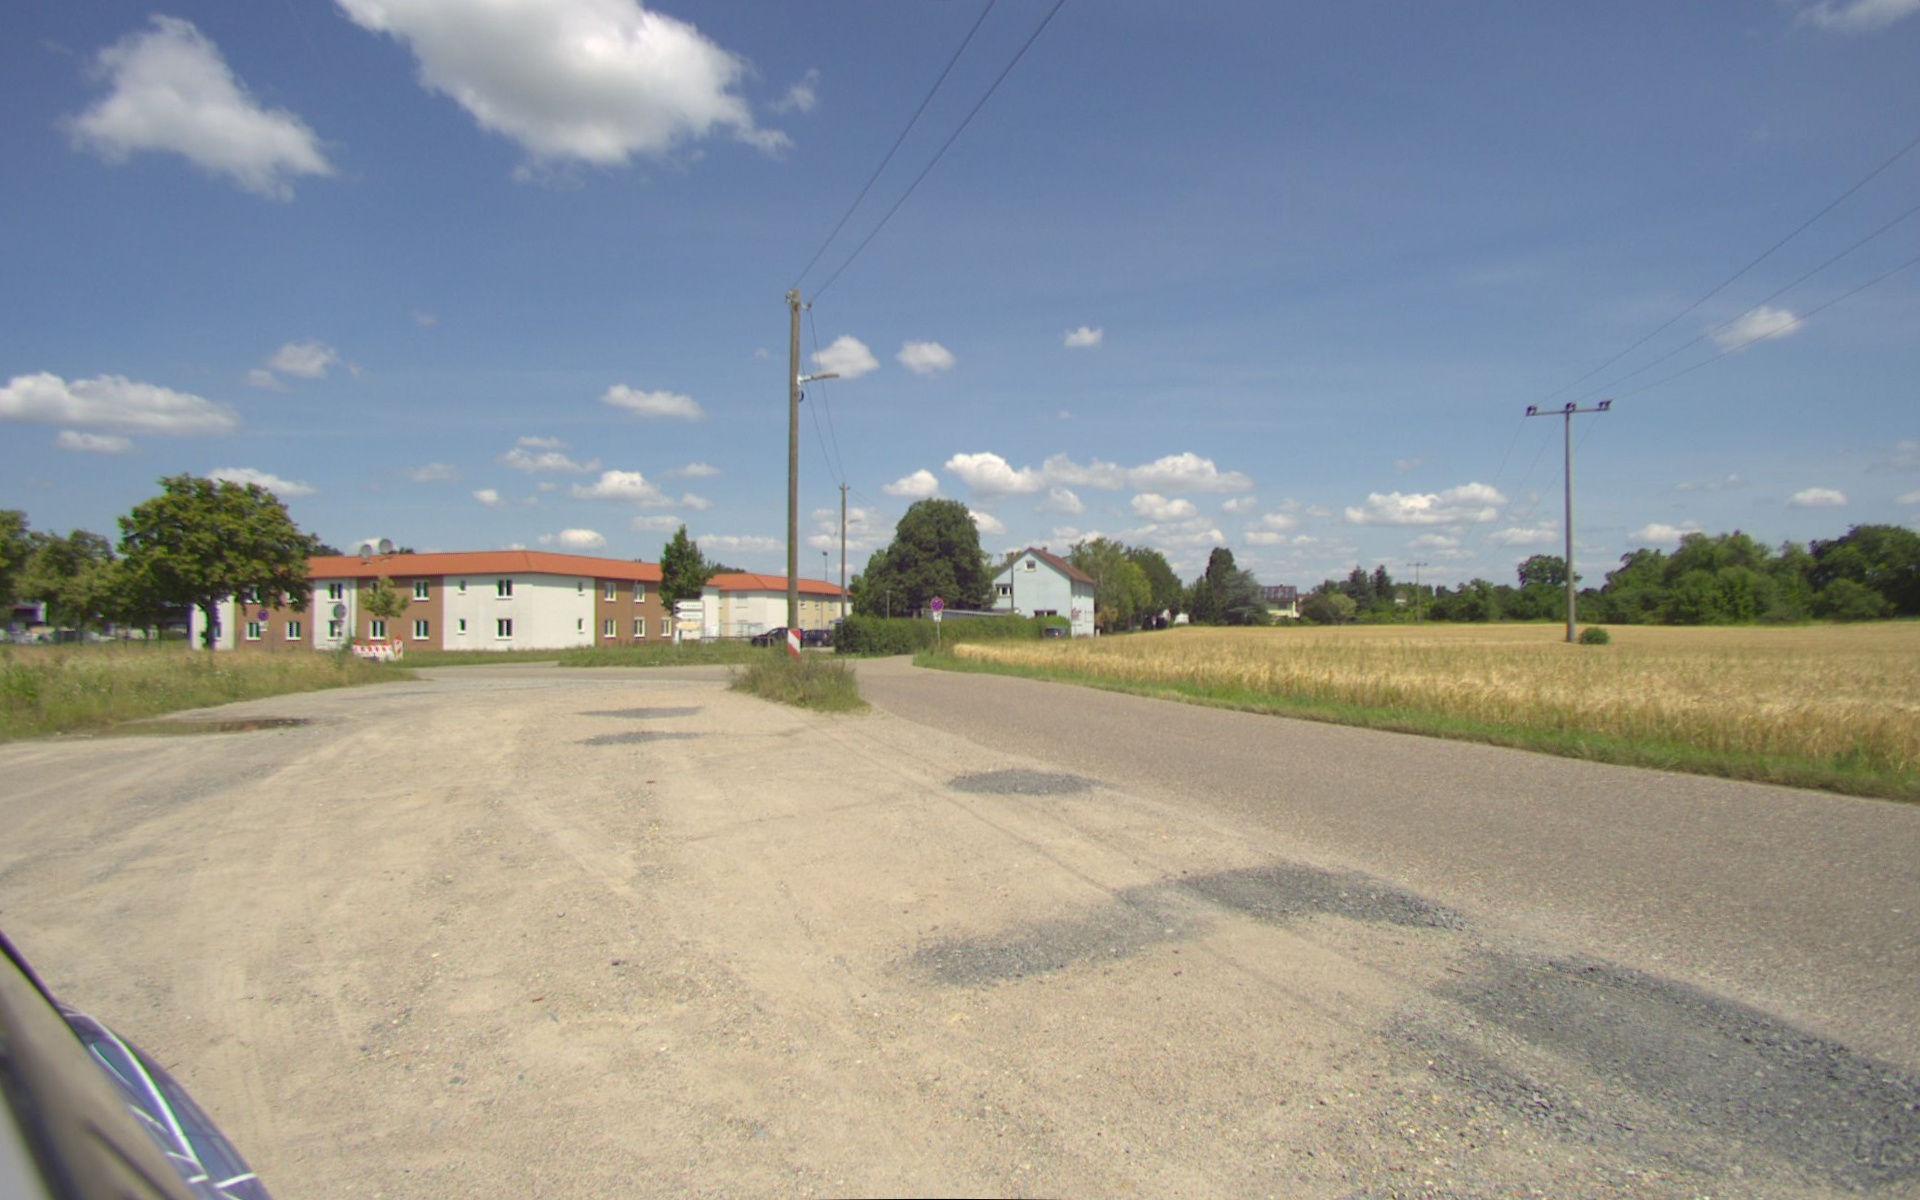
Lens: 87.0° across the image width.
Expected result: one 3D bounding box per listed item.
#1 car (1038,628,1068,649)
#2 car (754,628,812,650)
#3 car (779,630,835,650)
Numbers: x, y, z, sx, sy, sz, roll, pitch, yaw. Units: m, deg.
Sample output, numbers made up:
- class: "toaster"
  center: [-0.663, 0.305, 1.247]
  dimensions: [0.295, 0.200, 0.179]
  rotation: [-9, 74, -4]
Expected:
- class: "car"
  center: [8.066, 3.297, 87.448]
  dimensions: [1.734, 1.692, 4.232]
  rotation: [-2, -1, 16]
- class: "car"
  center: [-13.849, 3.064, 79.218]
  dimensions: [4.110, 1.627, 1.990]
  rotation: [-1, -2, 16]
- class: "car"
  center: [-12.528, 3.298, 82.903]
  dimensions: [4.110, 1.627, 1.990]
  rotation: [-1, -2, 16]
